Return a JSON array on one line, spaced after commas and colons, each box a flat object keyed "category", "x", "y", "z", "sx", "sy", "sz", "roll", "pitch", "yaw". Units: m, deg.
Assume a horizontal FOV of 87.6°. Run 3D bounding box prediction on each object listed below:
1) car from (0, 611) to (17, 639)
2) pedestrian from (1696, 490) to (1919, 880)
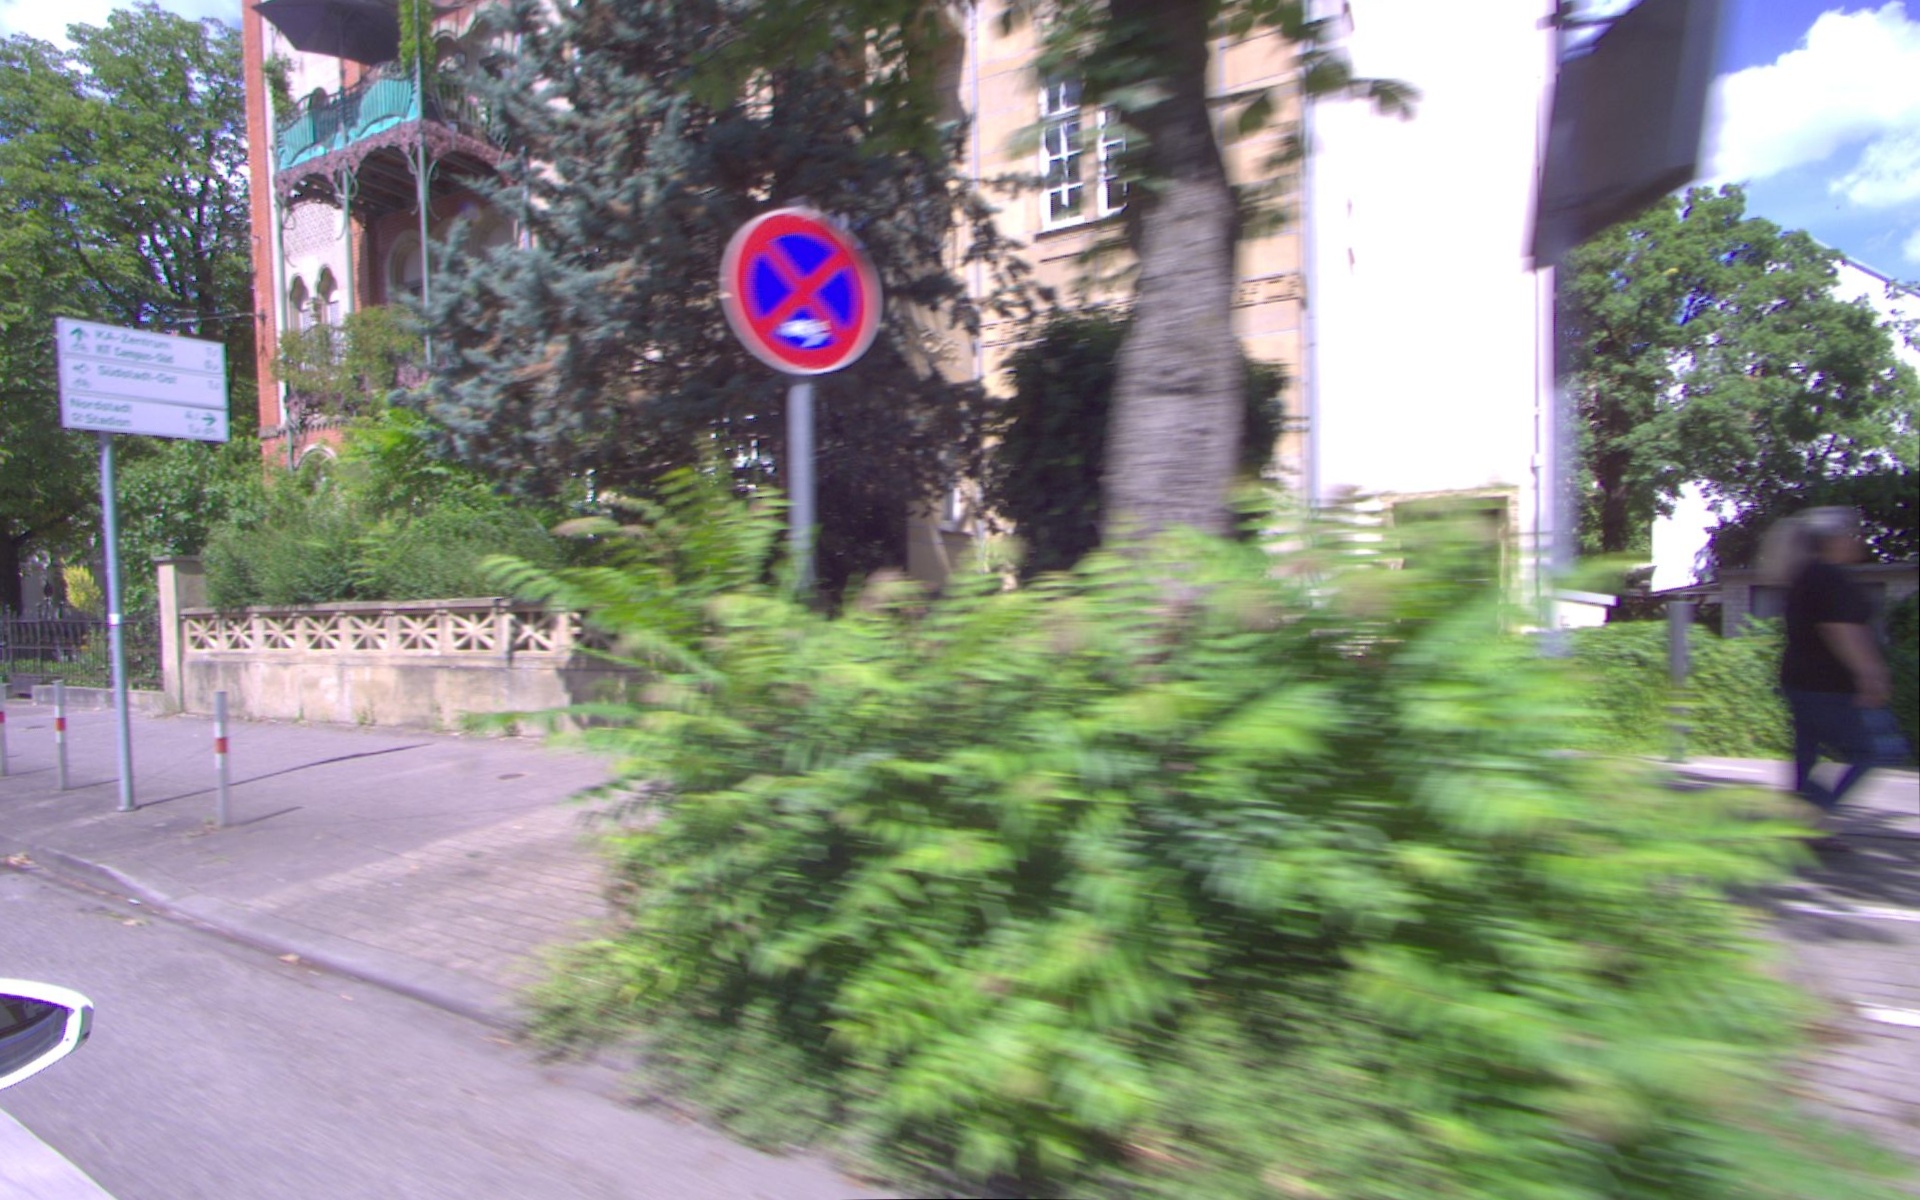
[{"category": "car", "x": -48.910, "y": 1.248, "z": 48.658, "sx": 4.255, "sy": 1.346, "sz": 1.791, "roll": -1, "pitch": 1, "yaw": -4}, {"category": "pedestrian", "x": 4.085, "y": 0.362, "z": 4.771, "sx": 0.824, "sy": 1.668, "sz": 0.855, "roll": -1, "pitch": 2, "yaw": 30}]
